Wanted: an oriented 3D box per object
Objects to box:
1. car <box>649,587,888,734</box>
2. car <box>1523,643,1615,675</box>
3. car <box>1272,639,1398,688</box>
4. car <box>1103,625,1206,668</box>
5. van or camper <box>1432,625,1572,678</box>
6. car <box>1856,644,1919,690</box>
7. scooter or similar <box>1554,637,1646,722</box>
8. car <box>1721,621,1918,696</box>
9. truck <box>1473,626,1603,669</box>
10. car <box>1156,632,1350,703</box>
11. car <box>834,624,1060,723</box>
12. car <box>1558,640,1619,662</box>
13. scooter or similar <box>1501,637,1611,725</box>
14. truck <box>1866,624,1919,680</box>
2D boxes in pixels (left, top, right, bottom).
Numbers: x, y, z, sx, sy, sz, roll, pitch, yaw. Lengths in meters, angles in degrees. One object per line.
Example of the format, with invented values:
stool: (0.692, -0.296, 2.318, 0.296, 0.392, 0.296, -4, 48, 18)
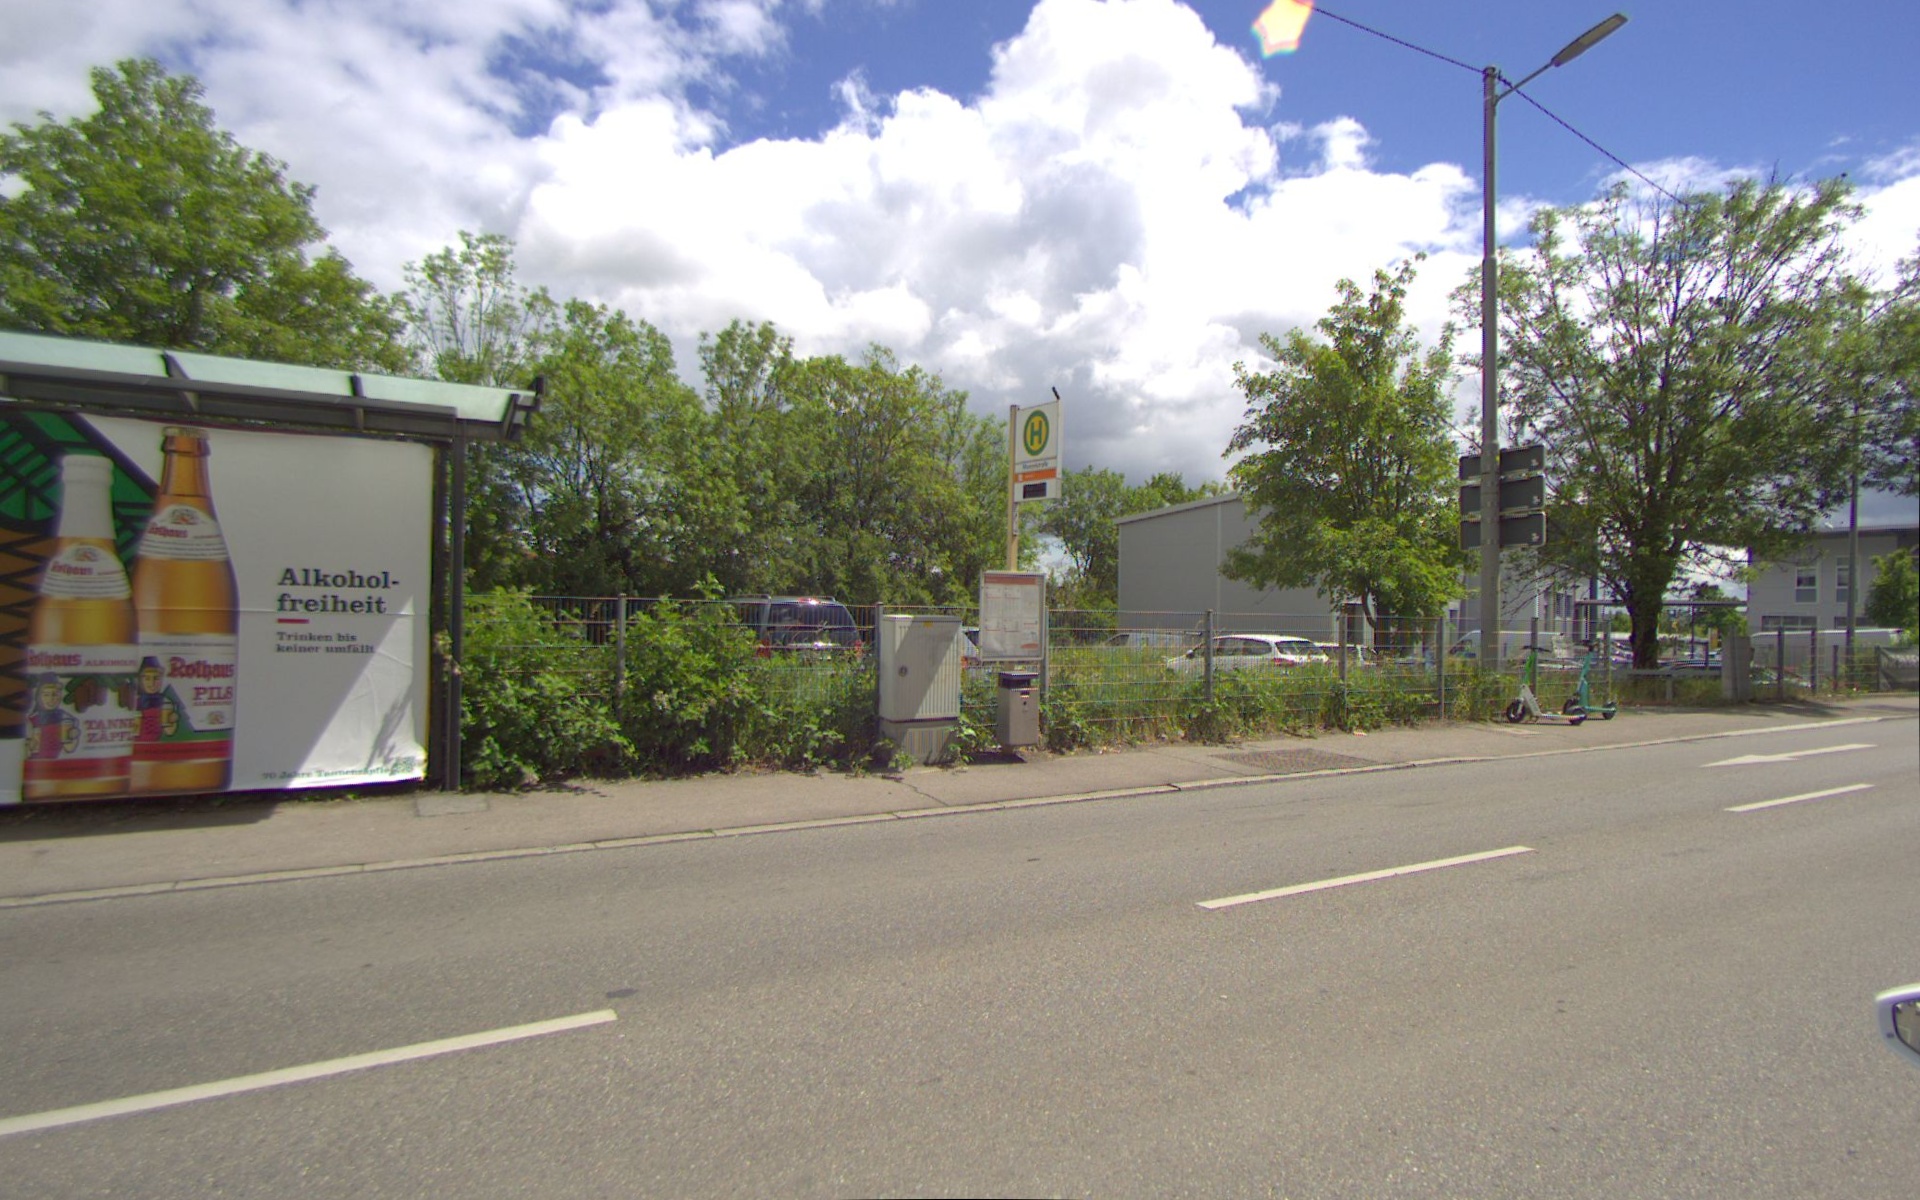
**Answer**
car: (-3.227, 0.896, 16.286, 2.122, 2.040, 4.244, 2, -2, -37)
car: (33.530, 3.208, 55.302, 4.173, 1.516, 1.922, 1, -2, 37)
car: (14.398, 2.404, 38.474, 4.857, 1.751, 1.828, 2, -2, -30)
car: (8.545, 2.026, 44.345, 4.112, 1.751, 1.834, 0, -2, 41)
van or camper: (27.215, 2.527, 50.576, 5.814, 2.386, 2.491, 0, -1, 41)
car: (36.802, 2.594, 38.052, 1.907, 1.630, 3.866, 3, -2, -31)
scooter or similar: (10.227, 1.246, 16.044, 1.452, 1.283, 0.533, 1, 1, -26)
car: (26.148, 1.719, 30.696, 2.175, 2.040, 4.136, 1, 0, -33)
truck: (33.677, 2.765, 58.624, 6.216, 2.258, 2.691, 0, -3, 39)
car: (6.489, 1.460, 22.745, 1.841, 1.399, 4.262, 2, -2, -26)
car: (-0.355, 1.237, 18.137, 1.894, 1.506, 4.243, 2, -2, -38)
car: (44.641, 3.594, 71.349, 3.428, 1.417, 1.654, 0, -1, 42)
scooter or similar: (9.009, 1.220, 15.192, 1.446, 1.279, 0.535, 2, 1, -14)
truck: (39.299, 2.098, 38.935, 2.451, 2.175, 5.826, 4, -3, -33)
